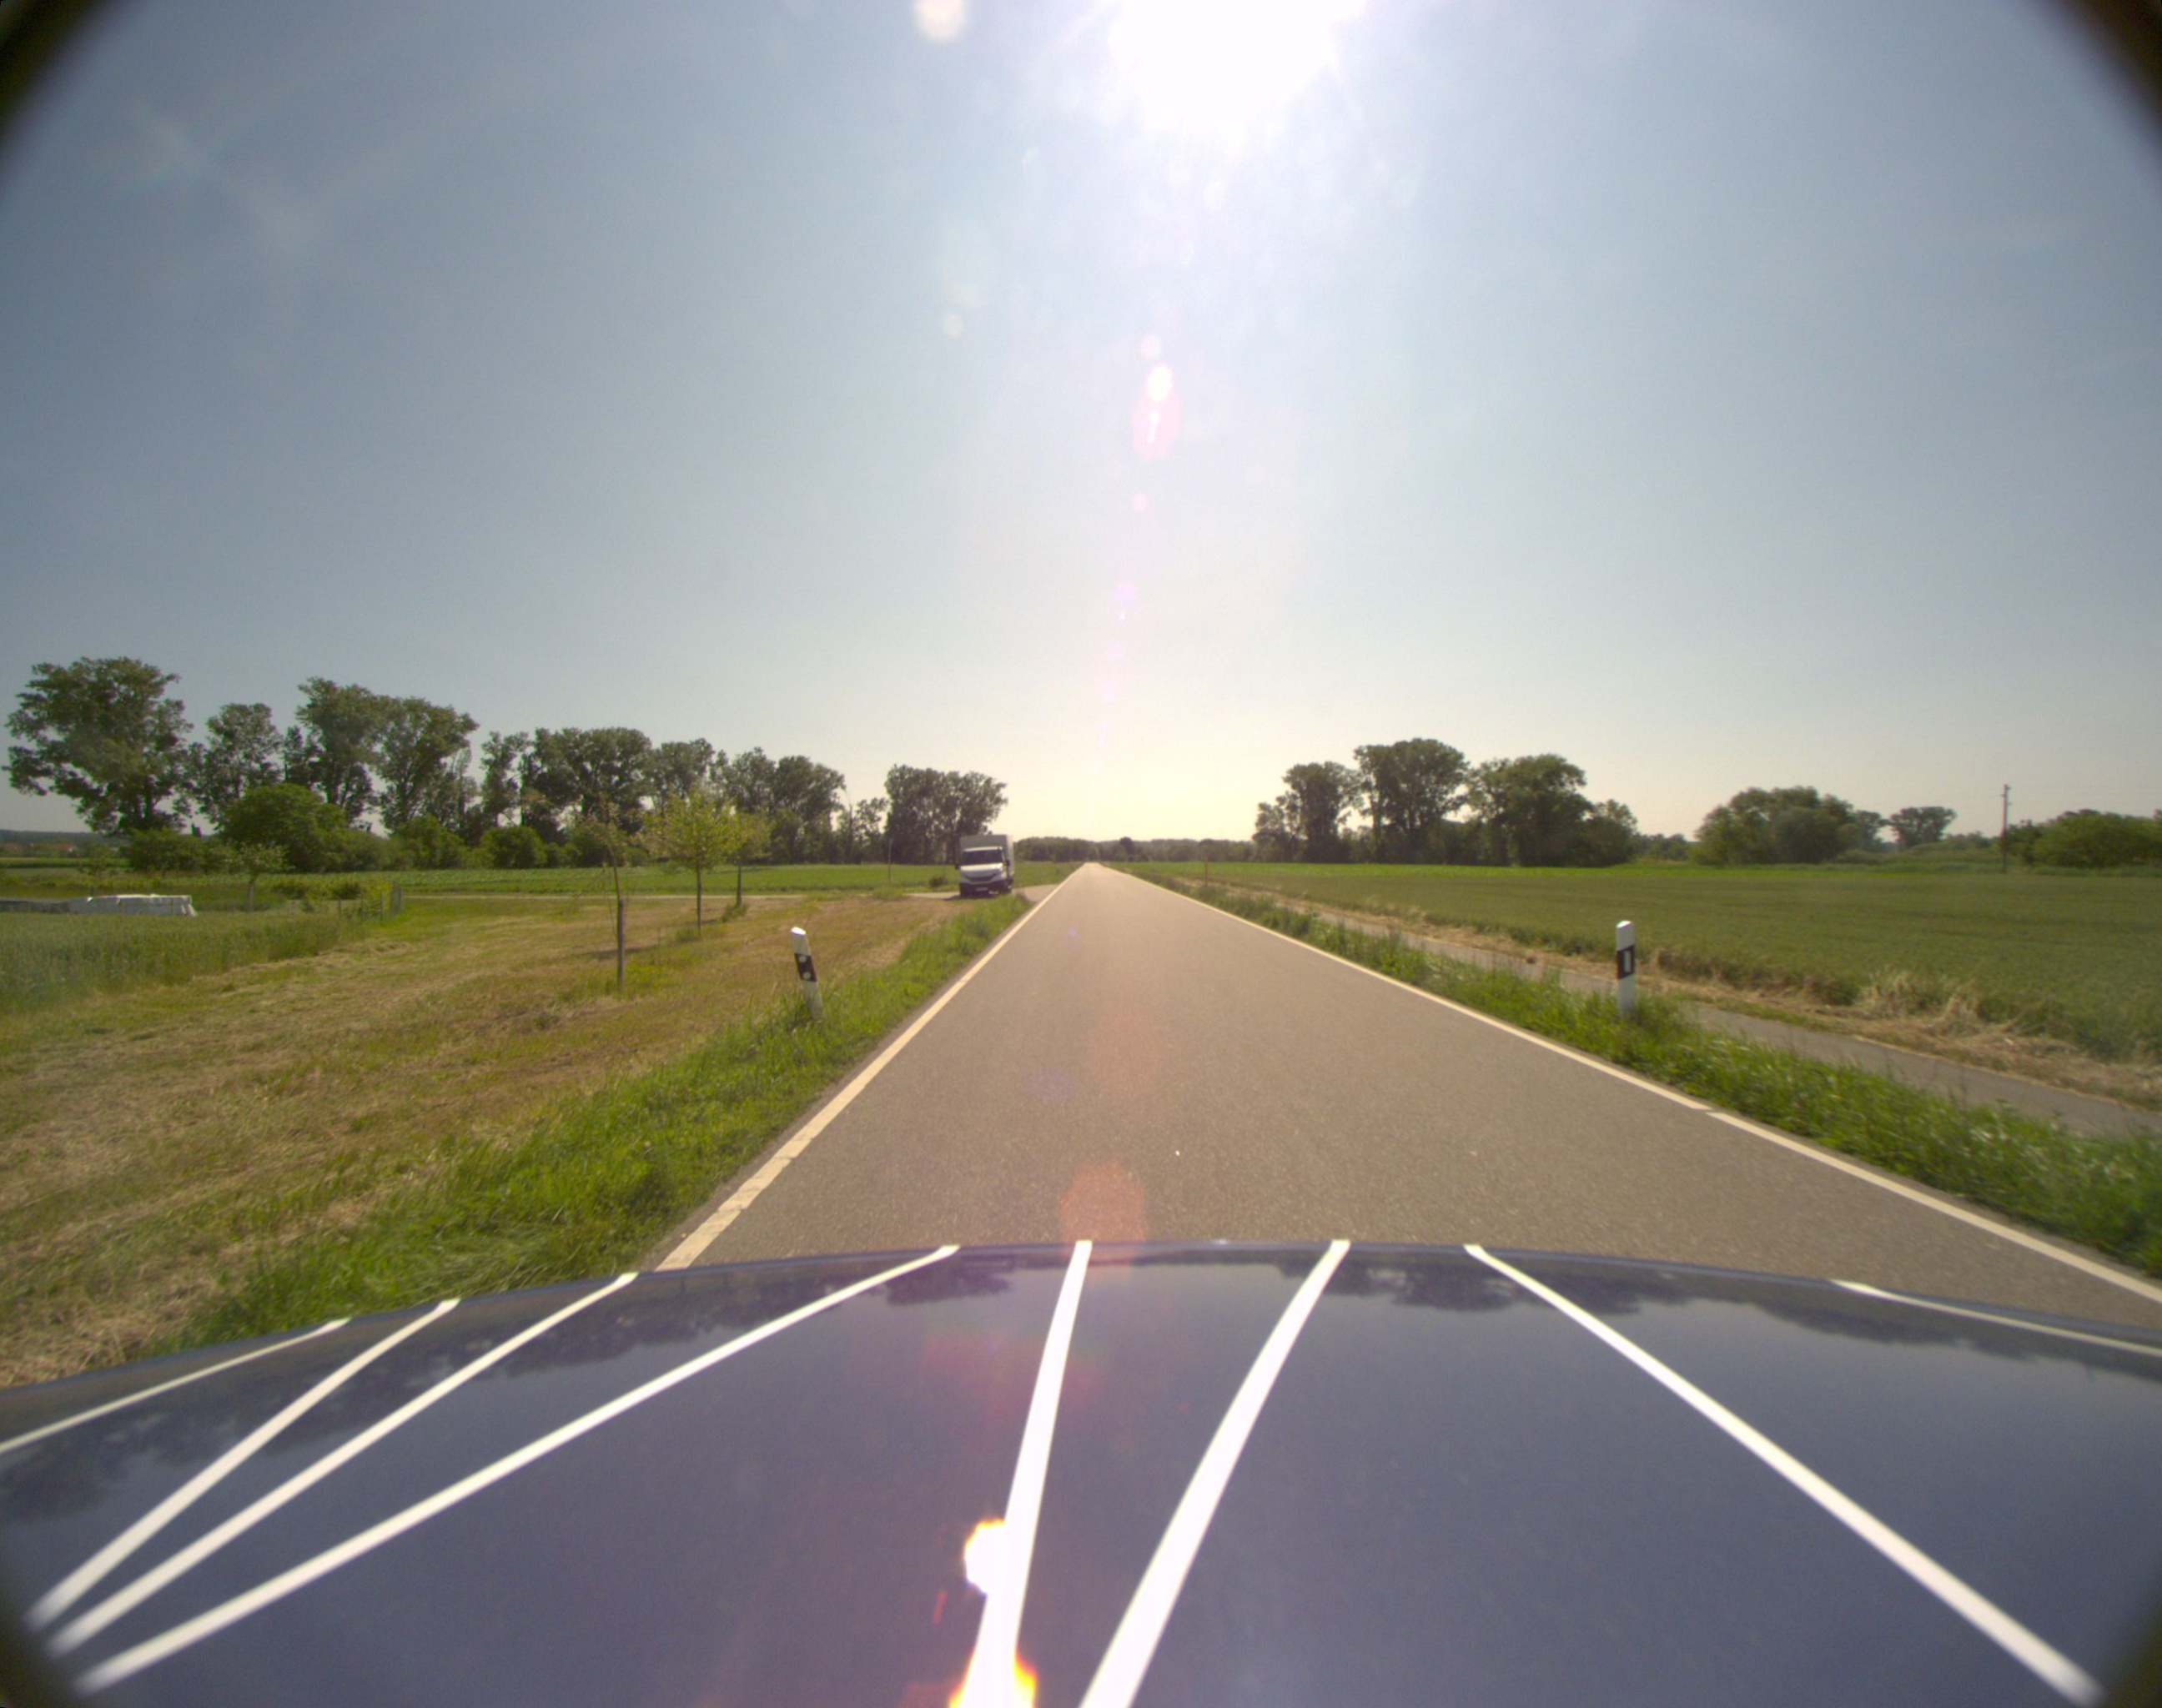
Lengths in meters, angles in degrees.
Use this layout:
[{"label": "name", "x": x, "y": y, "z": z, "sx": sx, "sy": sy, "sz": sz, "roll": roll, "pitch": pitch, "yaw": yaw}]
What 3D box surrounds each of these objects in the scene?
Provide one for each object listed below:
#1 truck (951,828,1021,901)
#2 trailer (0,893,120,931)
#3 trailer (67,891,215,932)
[{"label": "truck", "x": -4.263, "y": 0.428, "z": 35.417, "sx": 2.341, "sy": 2.925, "sz": 7.007, "roll": -3, "pitch": 0, "yaw": -1}, {"label": "trailer", "x": -36.446, "y": 2.052, "z": 26.850, "sx": 3.543, "sy": 1.182, "sz": 1.665, "roll": -1, "pitch": 1, "yaw": 13}, {"label": "trailer", "x": -31.532, "y": 1.931, "z": 25.517, "sx": 3.591, "sy": 1.182, "sz": 1.665, "roll": -2, "pitch": 0, "yaw": 13}]
